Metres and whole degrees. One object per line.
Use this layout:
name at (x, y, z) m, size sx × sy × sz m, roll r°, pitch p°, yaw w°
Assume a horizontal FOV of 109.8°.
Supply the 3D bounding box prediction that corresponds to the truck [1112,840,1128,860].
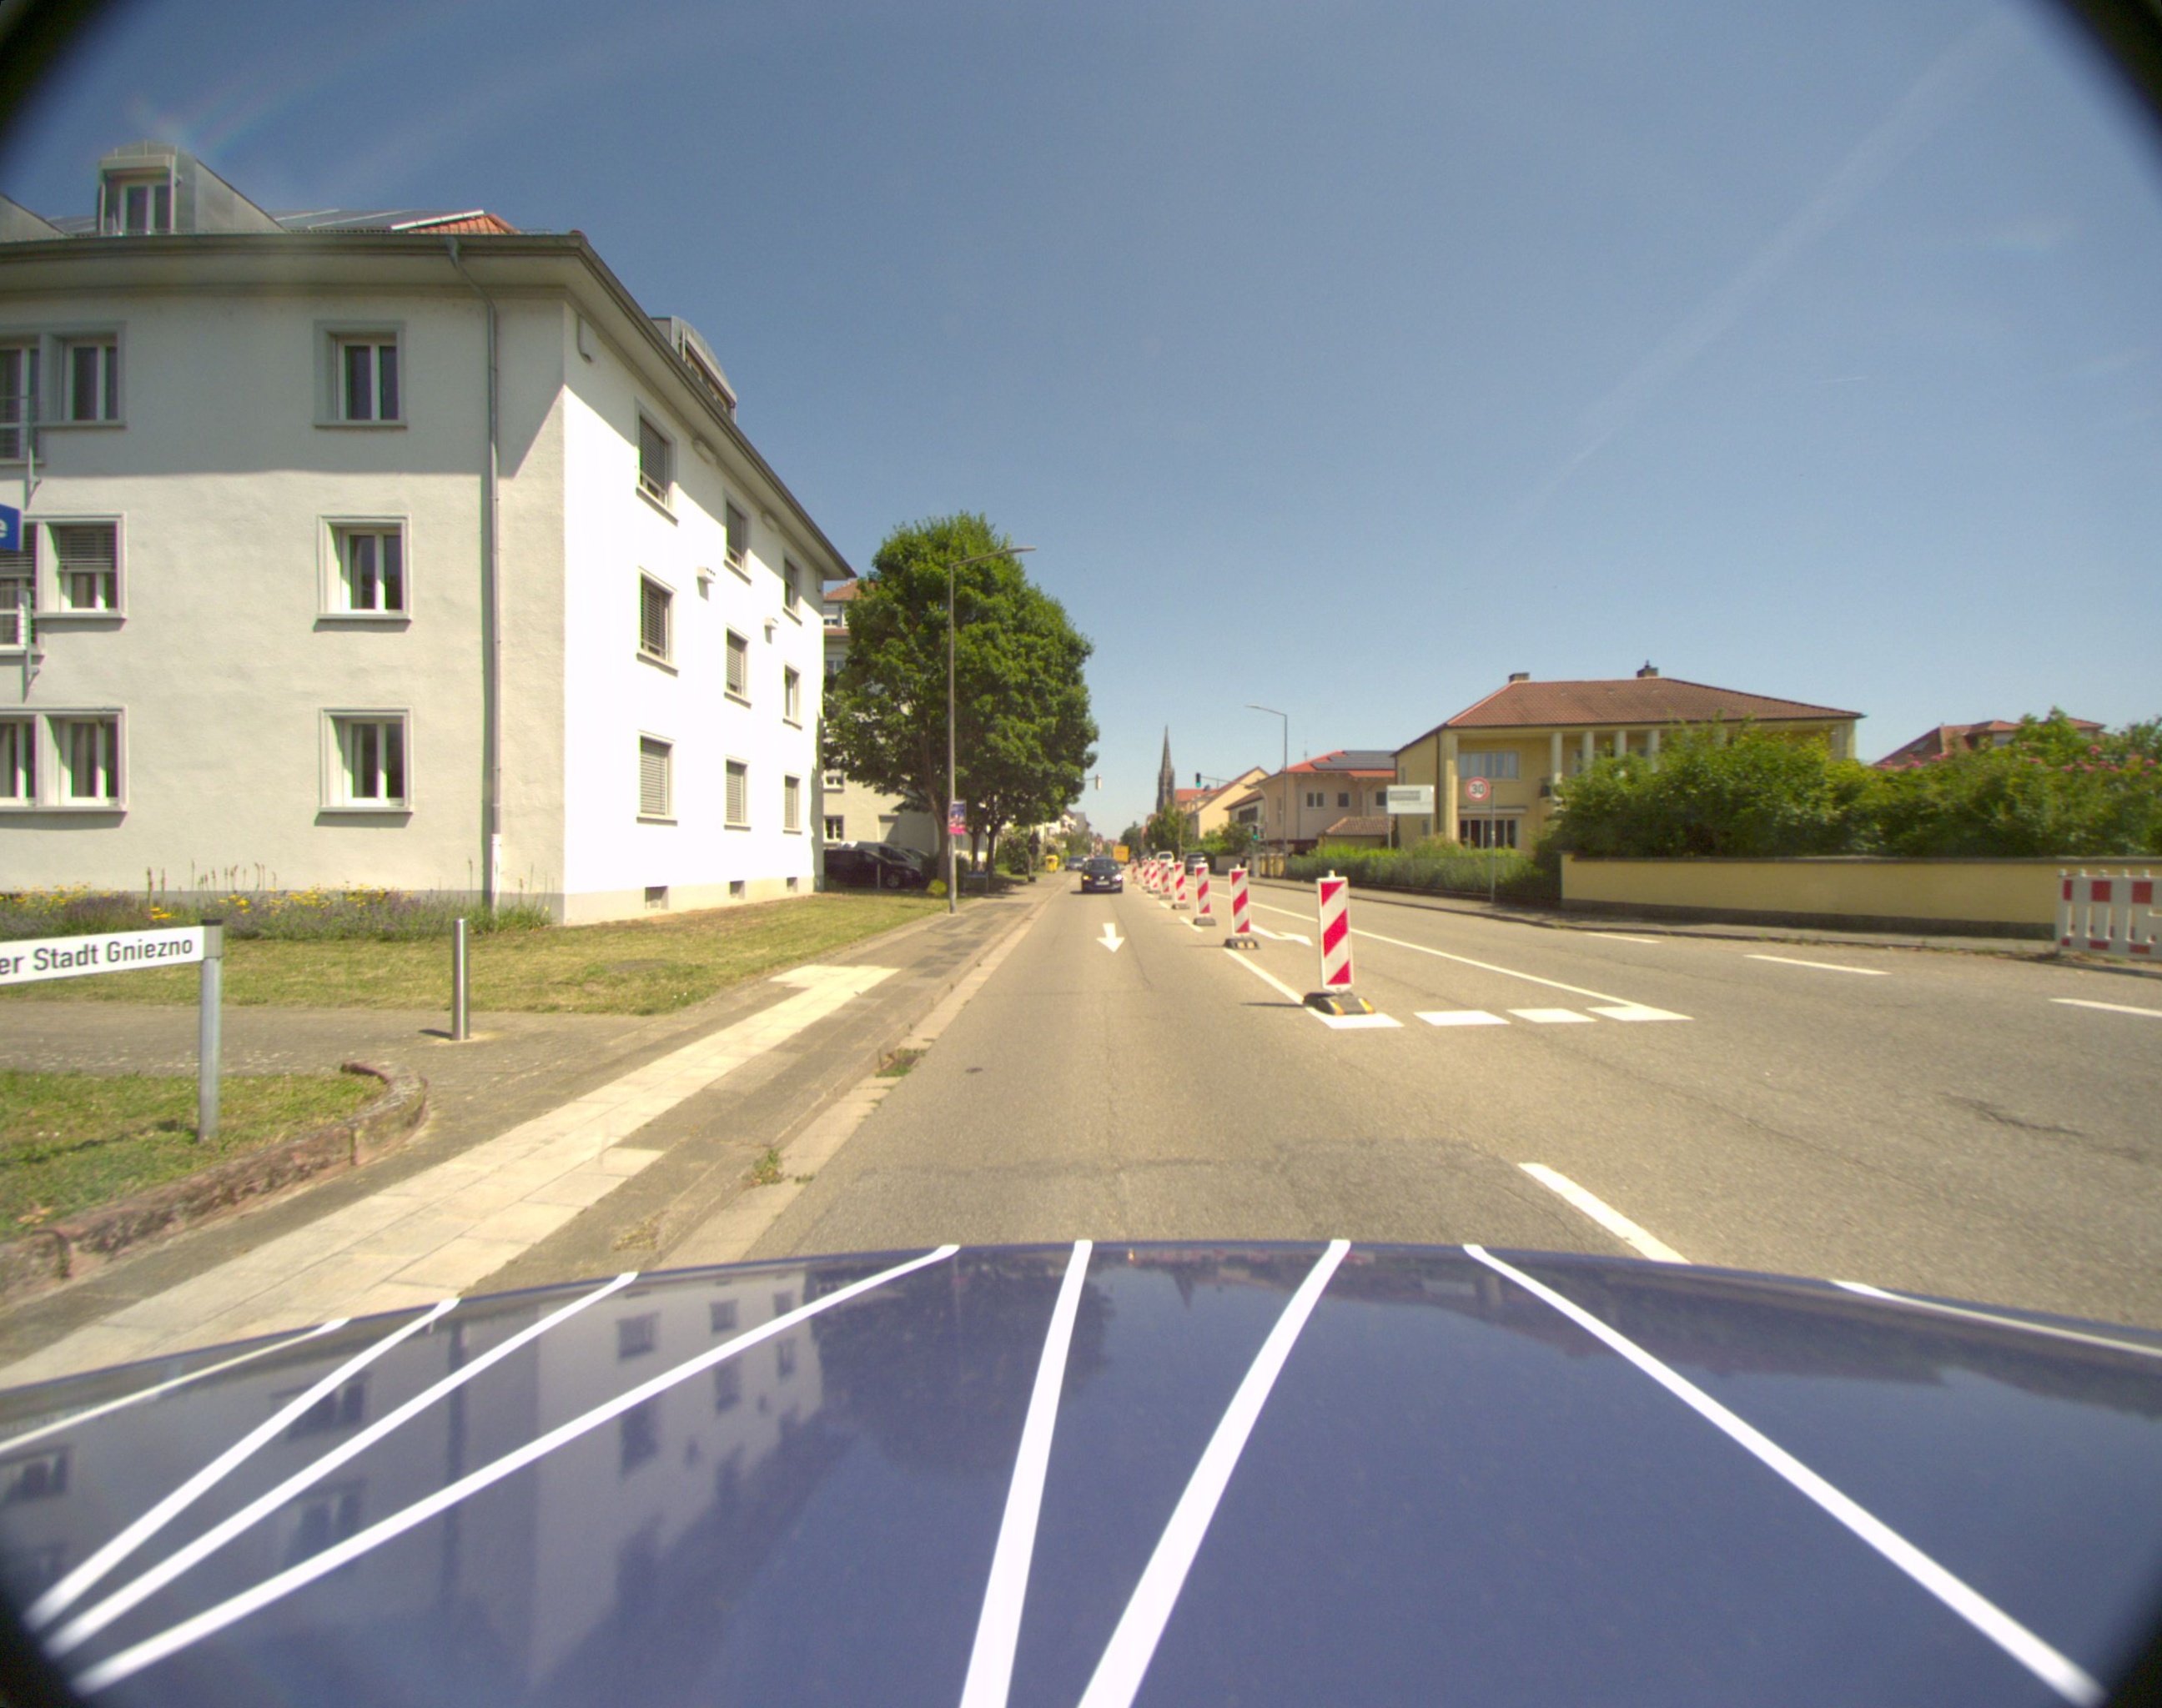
truck at (5.814, -0.635, 113.808) m, size 2.222 × 2.921 × 5.350 m, roll 0°, pitch 1°, yaw 0°

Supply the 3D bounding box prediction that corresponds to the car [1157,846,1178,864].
car at (8.748, 0.075, 76.893) m, size 1.718 × 1.776 × 3.889 m, roll 0°, pitch 1°, yaw 0°

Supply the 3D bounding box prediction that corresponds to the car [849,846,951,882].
car at (-8.495, 0.449, 35.973) m, size 4.367 × 1.517 × 1.999 m, roll 2°, pitch 1°, yaw -1°

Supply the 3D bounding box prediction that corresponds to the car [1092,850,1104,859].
car at (2.848, 0.103, 126.648) m, size 1.711 × 1.449 × 3.563 m, roll 0°, pitch 0°, yaw -2°

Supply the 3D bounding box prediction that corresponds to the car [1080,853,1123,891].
car at (0.900, 0.703, 31.385) m, size 1.607 × 1.436 × 3.910 m, roll -1°, pitch 0°, yaw 3°

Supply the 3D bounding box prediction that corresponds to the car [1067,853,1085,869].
car at (-0.451, 0.650, 72.885) m, size 1.607 × 1.403 × 3.909 m, roll -1°, pitch 0°, yaw 1°

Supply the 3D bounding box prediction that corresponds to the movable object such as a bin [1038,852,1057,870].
movable object such as a bin at (-2.796, 0.552, 63.165) m, size 1.499 × 1.472 × 1.423 m, roll 0°, pitch 1°, yaw 0°

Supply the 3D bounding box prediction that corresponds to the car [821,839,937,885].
car at (-8.556, 0.321, 32.495) m, size 4.367 × 1.776 × 1.999 m, roll 2°, pitch 1°, yaw -1°

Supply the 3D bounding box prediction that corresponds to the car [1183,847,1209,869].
car at (8.582, 0.300, 56.905) m, size 1.389 × 1.568 × 3.321 m, roll 0°, pitch 1°, yaw 0°

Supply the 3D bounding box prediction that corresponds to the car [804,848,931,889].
car at (-8.300, 0.547, 29.843) m, size 4.367 × 1.427 × 1.999 m, roll 2°, pitch 1°, yaw -1°

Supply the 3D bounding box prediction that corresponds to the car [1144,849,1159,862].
car at (8.760, 0.164, 94.655) m, size 1.624 × 1.596 × 3.513 m, roll 0°, pitch 1°, yaw 0°

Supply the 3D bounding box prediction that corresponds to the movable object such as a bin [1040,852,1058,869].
movable object such as a bin at (-2.712, 0.547, 64.748) m, size 1.499 × 1.472 × 1.423 m, roll 0°, pitch 1°, yaw 0°
